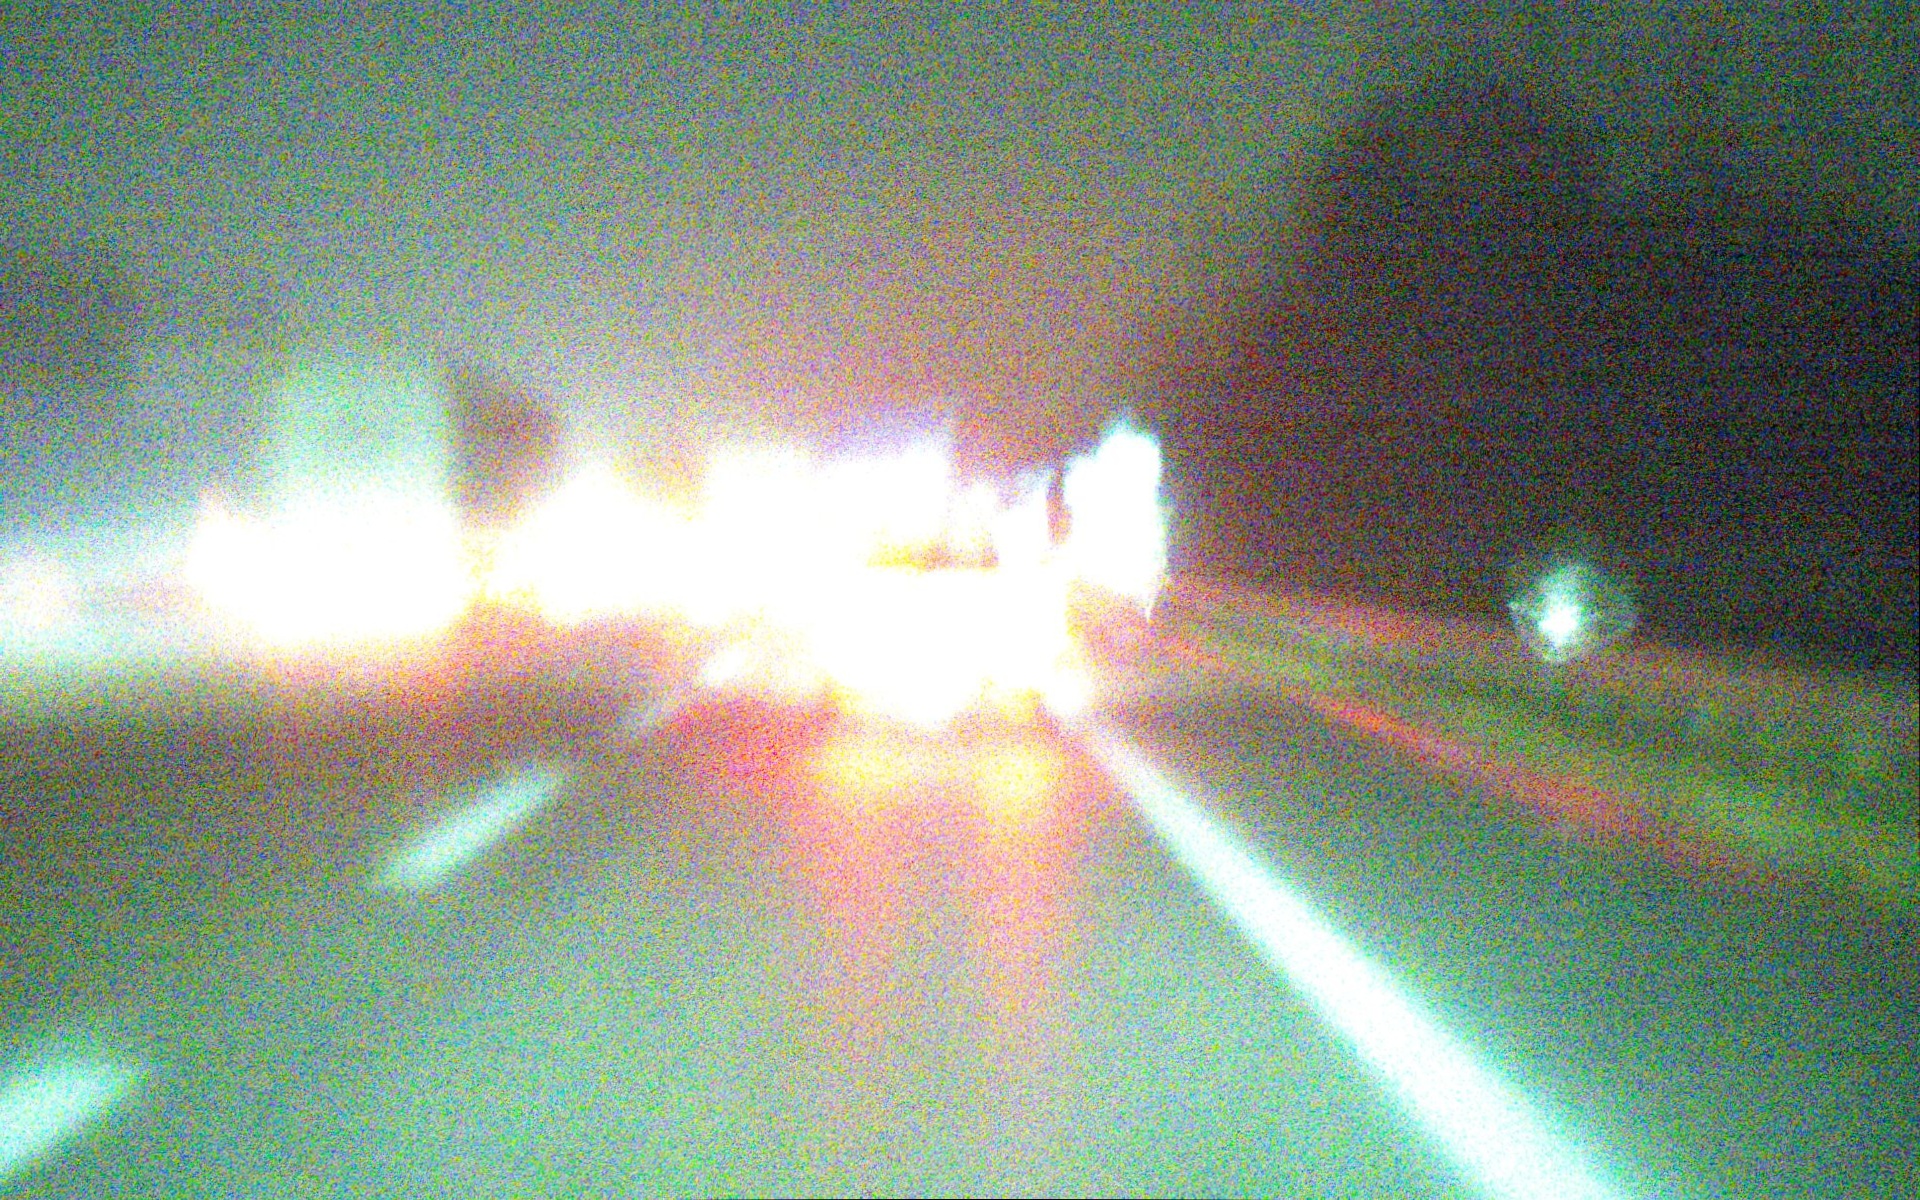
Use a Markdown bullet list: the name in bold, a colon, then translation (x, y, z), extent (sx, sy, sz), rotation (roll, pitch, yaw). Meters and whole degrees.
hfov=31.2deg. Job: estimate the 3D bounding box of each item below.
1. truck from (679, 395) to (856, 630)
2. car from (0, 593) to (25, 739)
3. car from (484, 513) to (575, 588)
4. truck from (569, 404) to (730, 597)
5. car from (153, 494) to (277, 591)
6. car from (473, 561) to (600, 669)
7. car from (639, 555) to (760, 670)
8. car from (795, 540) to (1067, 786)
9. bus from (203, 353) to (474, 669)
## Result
- **truck**: translation (-4.845, -2.173, 89.180), extent (4.210, 5.629, 11.468), rotation (1, 0, -2)
- **car**: translation (-11.688, 0.749, 38.463), extent (1.694, 1.645, 3.841), rotation (1, 0, -5)
- **car**: translation (-10.690, -1.223, 85.606), extent (1.993, 1.801, 4.001), rotation (1, 0, -4)
- **truck**: translation (-9.543, -2.977, 107.089), extent (4.210, 5.629, 11.468), rotation (1, 0, -2)
- **car**: translation (-14.410, -1.106, 66.650), extent (1.993, 1.788, 4.001), rotation (1, 0, -7)
- **car**: translation (-7.396, 0.237, 60.359), extent (1.993, 1.801, 4.001), rotation (1, 0, -4)
- **car**: translation (-4.778, 0.202, 63.653), extent (2.125, 2.007, 4.646), rotation (1, 0, -3)
- **car**: translation (-0.251, 0.455, 27.569), extent (1.993, 1.801, 4.000), rotation (1, 0, -1)
- **bus**: translation (-9.693, -1.323, 54.843), extent (3.096, 4.492, 10.915), rotation (1, 0, -4)
